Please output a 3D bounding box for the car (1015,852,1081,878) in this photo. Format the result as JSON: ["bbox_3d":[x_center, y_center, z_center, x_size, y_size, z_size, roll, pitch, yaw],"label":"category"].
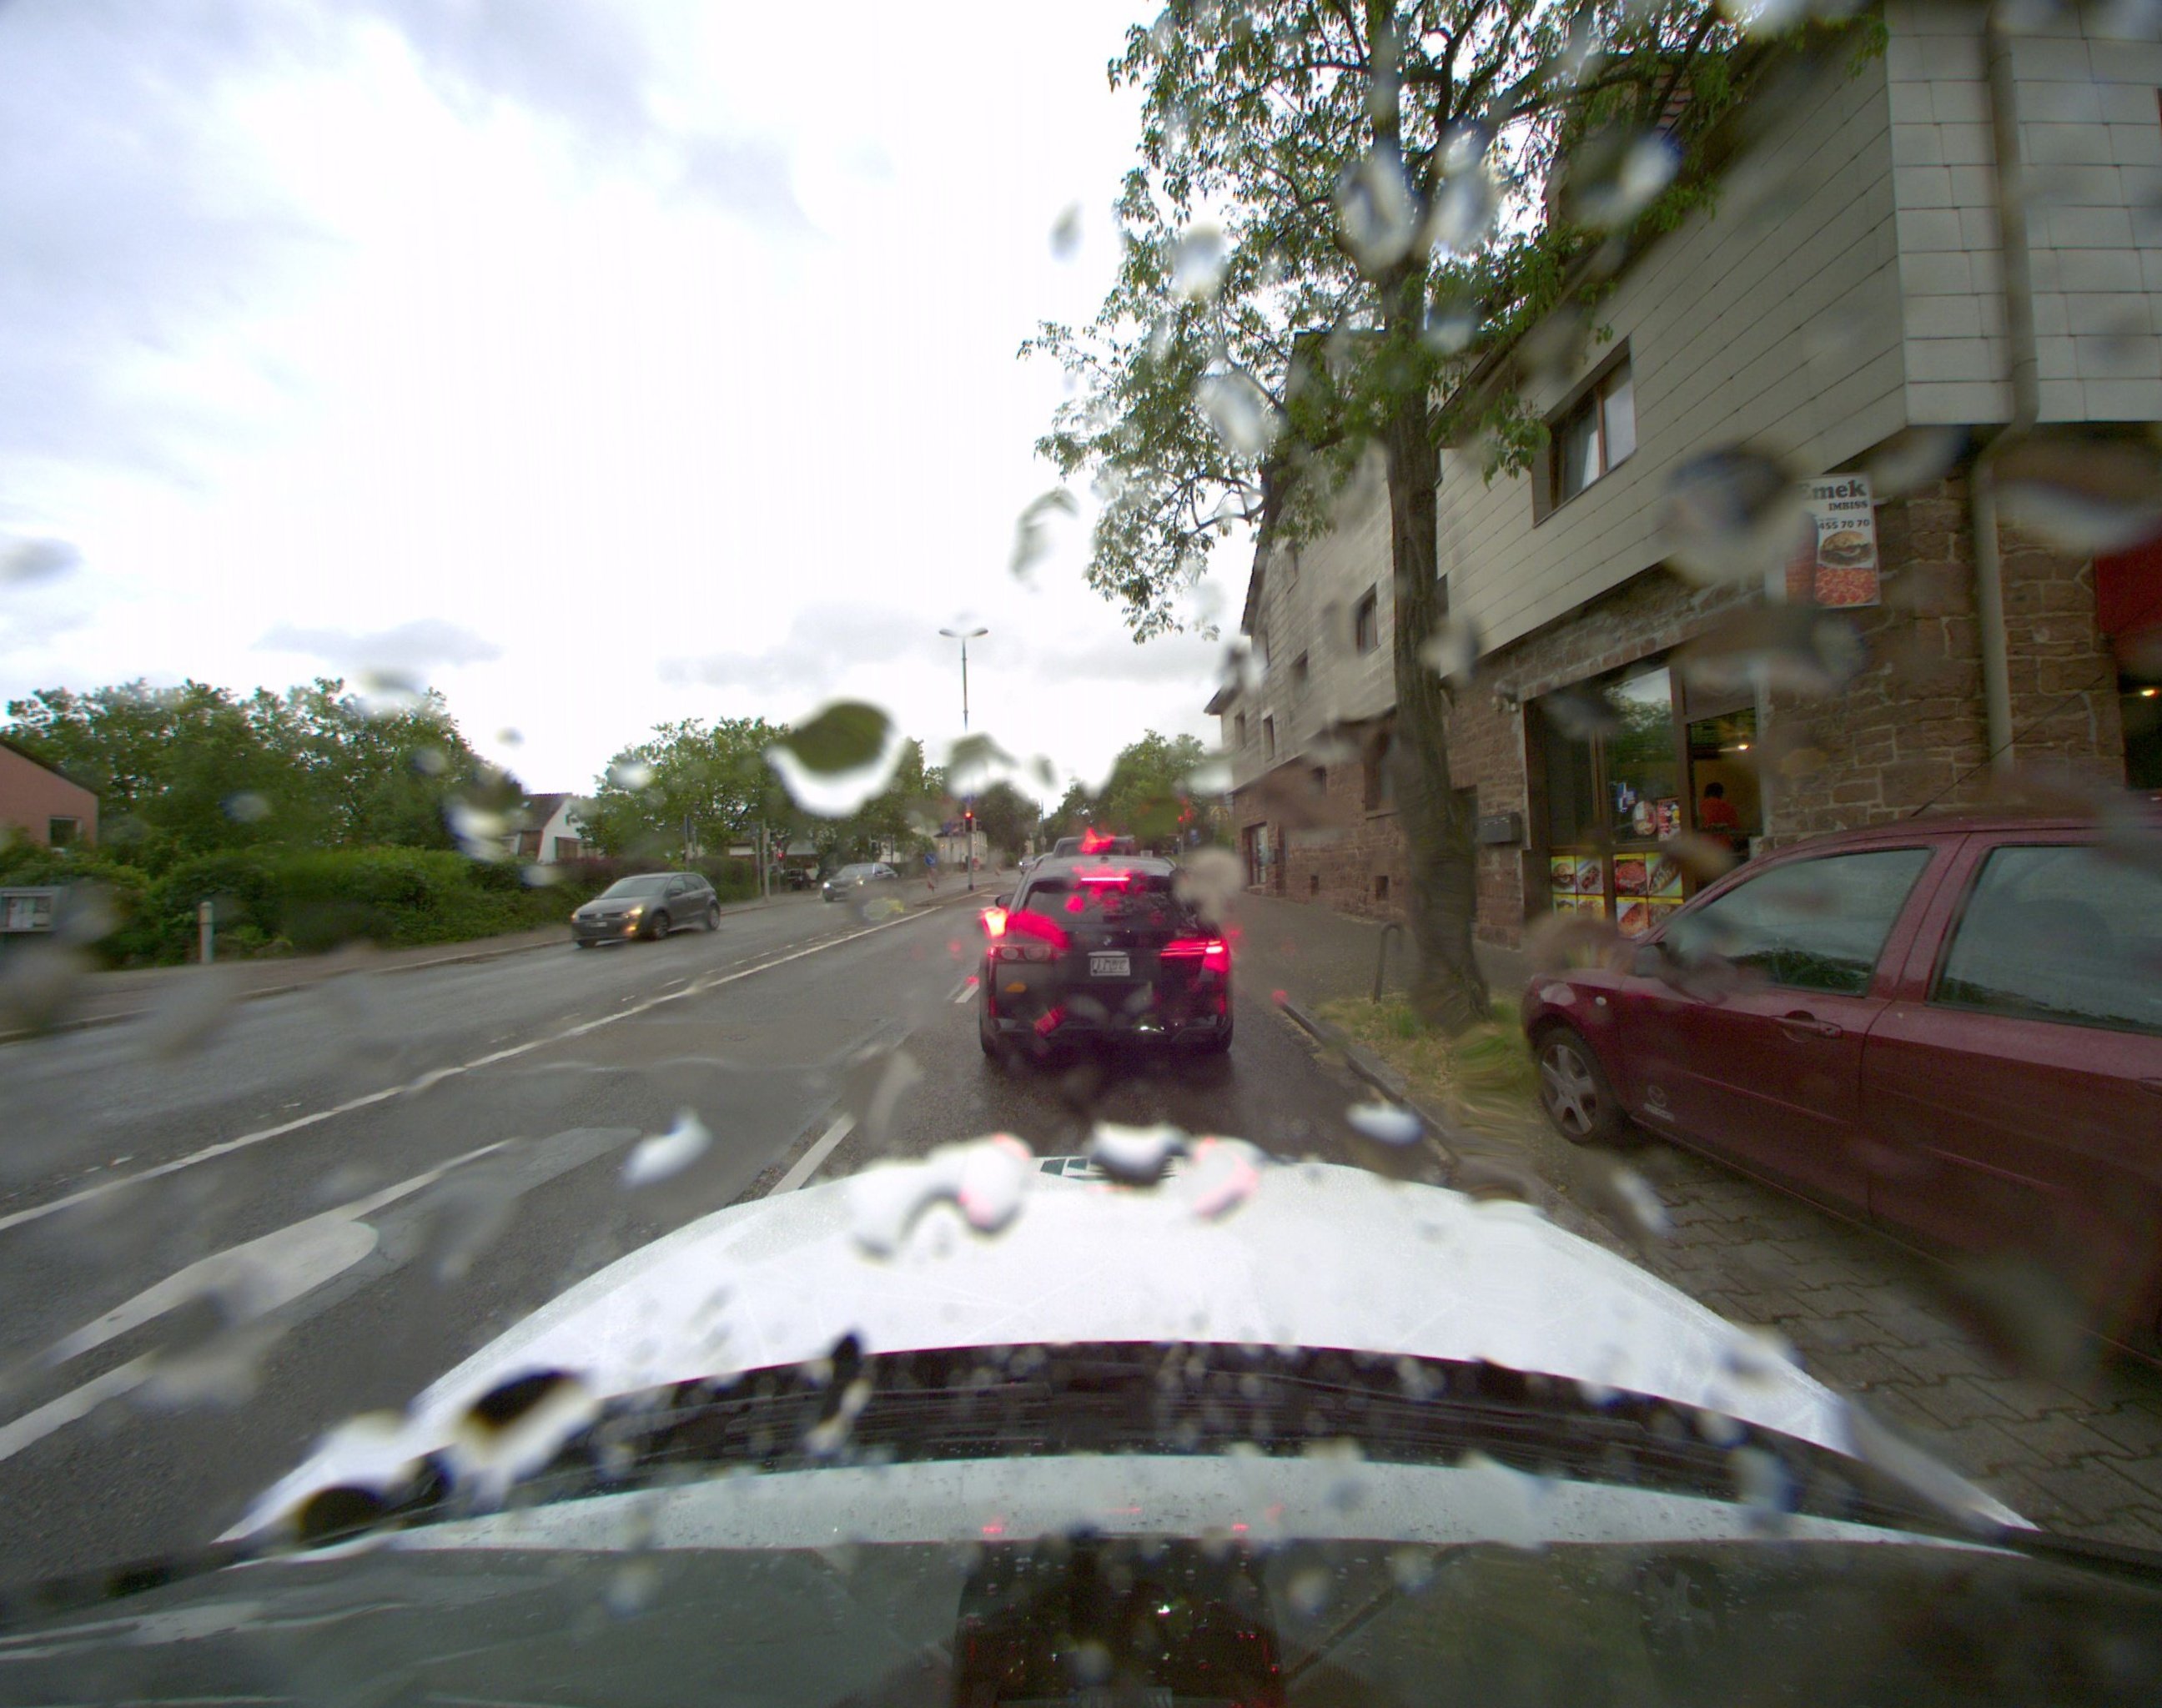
[{"bbox_3d":[-2.186,0.710,53.921,4.015,1.552,1.805,-2,0,-34],"label":"car"}]

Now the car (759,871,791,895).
[{"bbox_3d":[-21.625,2.017,57.692,2.000,1.552,3.973,-2,0,-20],"label":"car"}]

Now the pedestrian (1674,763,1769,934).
[{"bbox_3d":[7.108,-0.063,9.053,0.635,1.839,0.483,-1,0,1],"label":"pedestrian"}]

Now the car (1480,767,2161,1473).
[{"bbox_3d":[3.032,0.510,2.624,1.579,1.490,3.626,-5,1,-1],"label":"car"}]

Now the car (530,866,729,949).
[{"bbox_3d":[-9.688,1.072,17.894,1.985,1.510,3.958,-1,0,3],"label":"car"}]

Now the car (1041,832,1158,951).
[{"bbox_3d":[0.281,0.574,14.721,1.778,1.817,3.999,-1,0,0],"label":"car"}]

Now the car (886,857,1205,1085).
[{"bbox_3d":[-0.247,0.764,7.538,2.058,1.446,4.481,-1,0,-1],"label":"car"}]

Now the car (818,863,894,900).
[{"bbox_3d":[-9.137,1.090,33.440,1.835,1.288,4.002,-1,0,2],"label":"car"}]

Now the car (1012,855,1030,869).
[{"bbox_3d":[-6.210,0.797,84.527,1.459,1.398,3.323,-1,0,2],"label":"car"}]
